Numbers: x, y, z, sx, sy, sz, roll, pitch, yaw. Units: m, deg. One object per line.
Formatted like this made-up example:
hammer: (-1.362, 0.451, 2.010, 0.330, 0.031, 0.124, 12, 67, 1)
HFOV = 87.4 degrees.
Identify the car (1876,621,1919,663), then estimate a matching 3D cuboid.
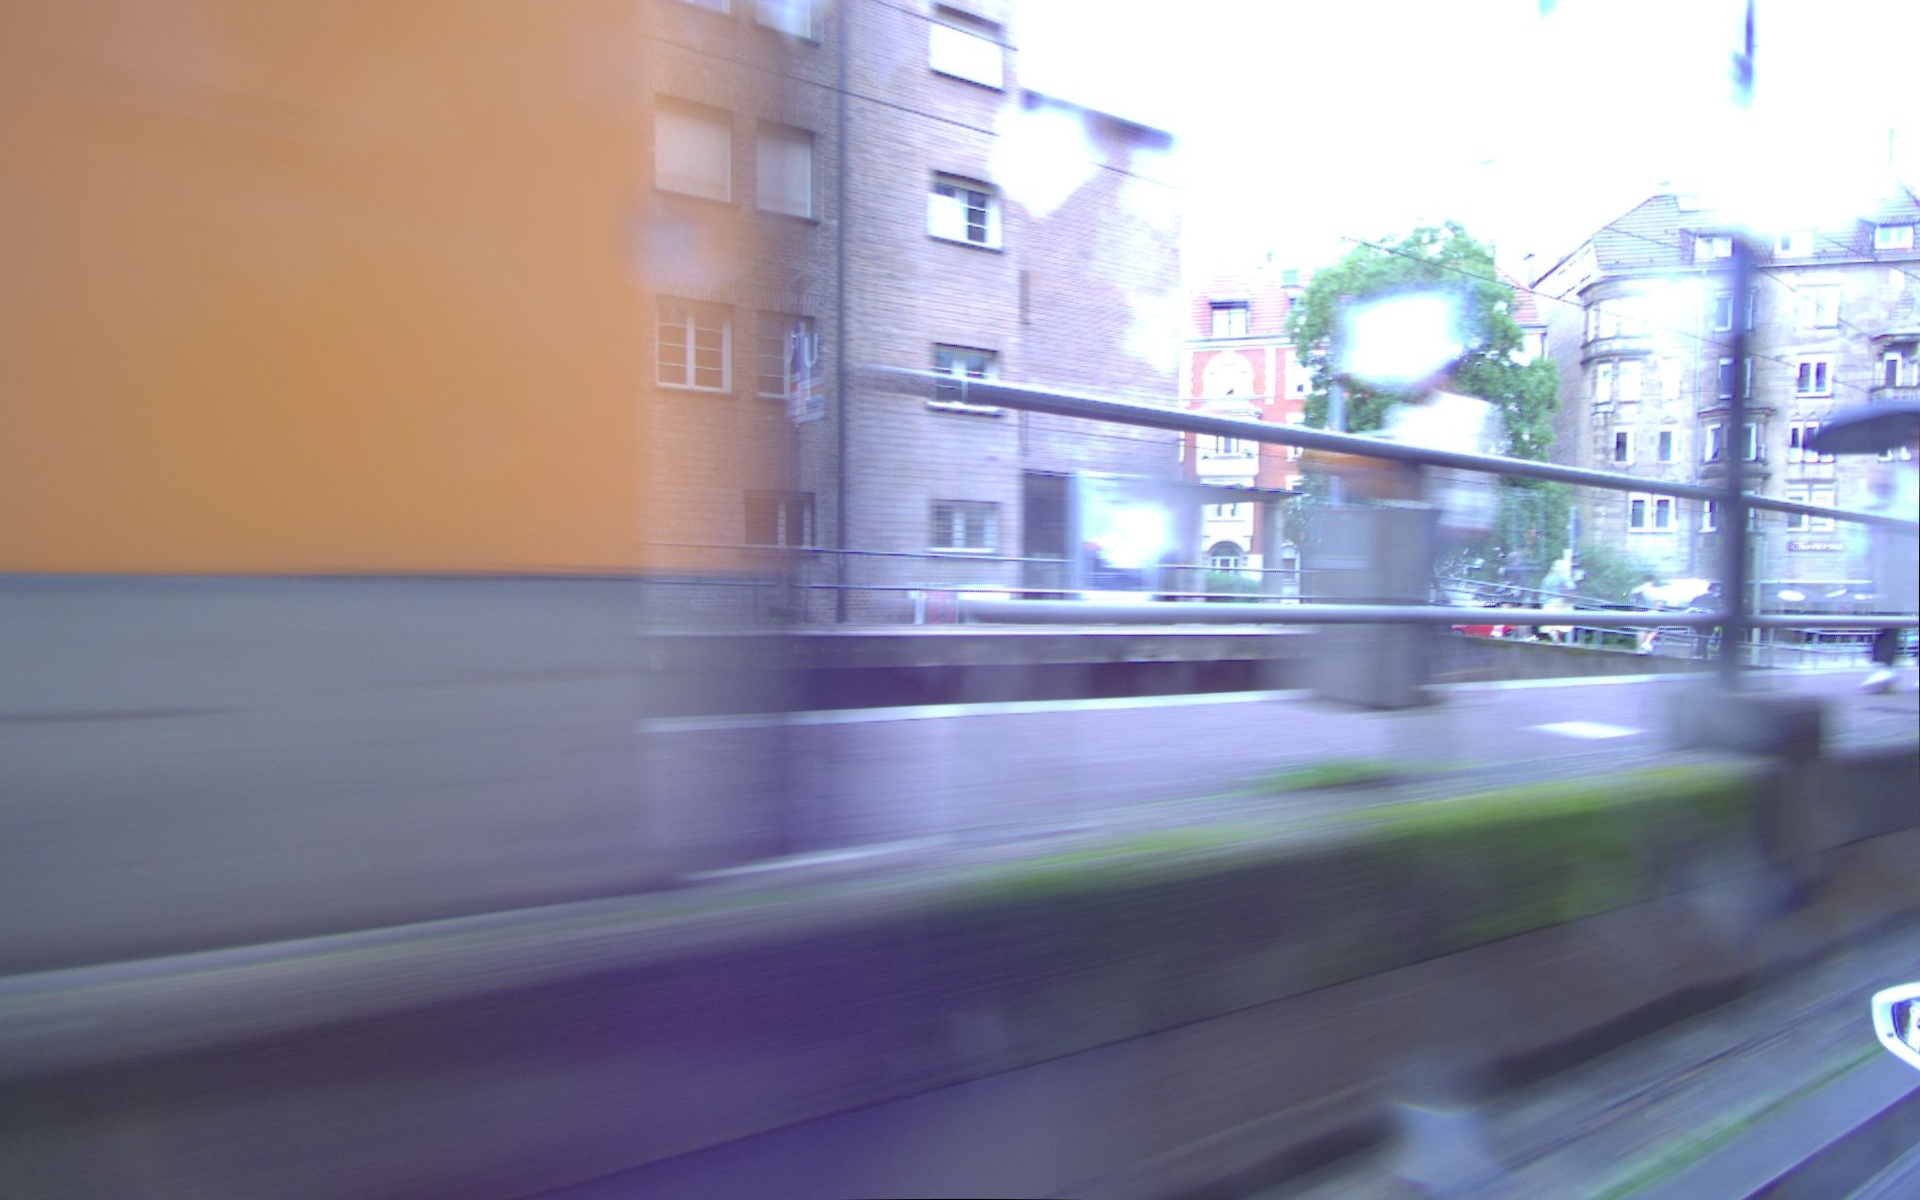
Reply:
car: (36.709, 1.574, 38.071, 4.708, 1.517, 1.636, 1, 0, -30)

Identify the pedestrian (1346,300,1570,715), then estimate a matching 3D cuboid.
pedestrian: (2.378, -0.400, 4.822, 0.702, 1.798, 0.640, 1, 1, -30)

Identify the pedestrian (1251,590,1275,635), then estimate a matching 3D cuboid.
pedestrian: (11.593, 0.473, 38.445, 0.681, 1.697, 0.600, 1, -1, -33)

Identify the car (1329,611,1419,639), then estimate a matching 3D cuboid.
car: (21.608, 1.299, 52.553, 4.083, 1.421, 1.743, 0, -1, 12)

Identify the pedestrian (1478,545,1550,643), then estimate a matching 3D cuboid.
pedestrian: (10.235, -0.109, 18.578, 0.872, 1.718, 0.740, 4, 0, -30)

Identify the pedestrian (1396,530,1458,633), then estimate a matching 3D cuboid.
pedestrian: (7.995, -0.307, 17.216, 0.681, 1.721, 0.660, 2, 0, -34)

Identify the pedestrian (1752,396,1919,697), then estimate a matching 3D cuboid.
pedestrian: (6.084, -0.319, 6.526, 1.098, 1.798, 1.108, 1, 1, -30)

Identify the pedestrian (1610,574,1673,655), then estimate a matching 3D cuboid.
pedestrian: (13.872, 0.299, 20.450, 0.945, 1.604, 0.689, 2, 0, -30)

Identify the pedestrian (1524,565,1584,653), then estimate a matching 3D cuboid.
pedestrian: (11.680, 0.173, 19.770, 0.633, 1.669, 0.740, 3, 0, -30)

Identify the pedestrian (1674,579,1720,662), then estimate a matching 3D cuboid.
pedestrian: (16.670, 0.451, 22.720, 0.790, 1.842, 0.508, 1, 1, -30)

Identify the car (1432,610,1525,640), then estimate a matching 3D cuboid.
car: (26.531, 1.271, 51.478, 3.919, 1.421, 1.743, 0, -1, 12)
